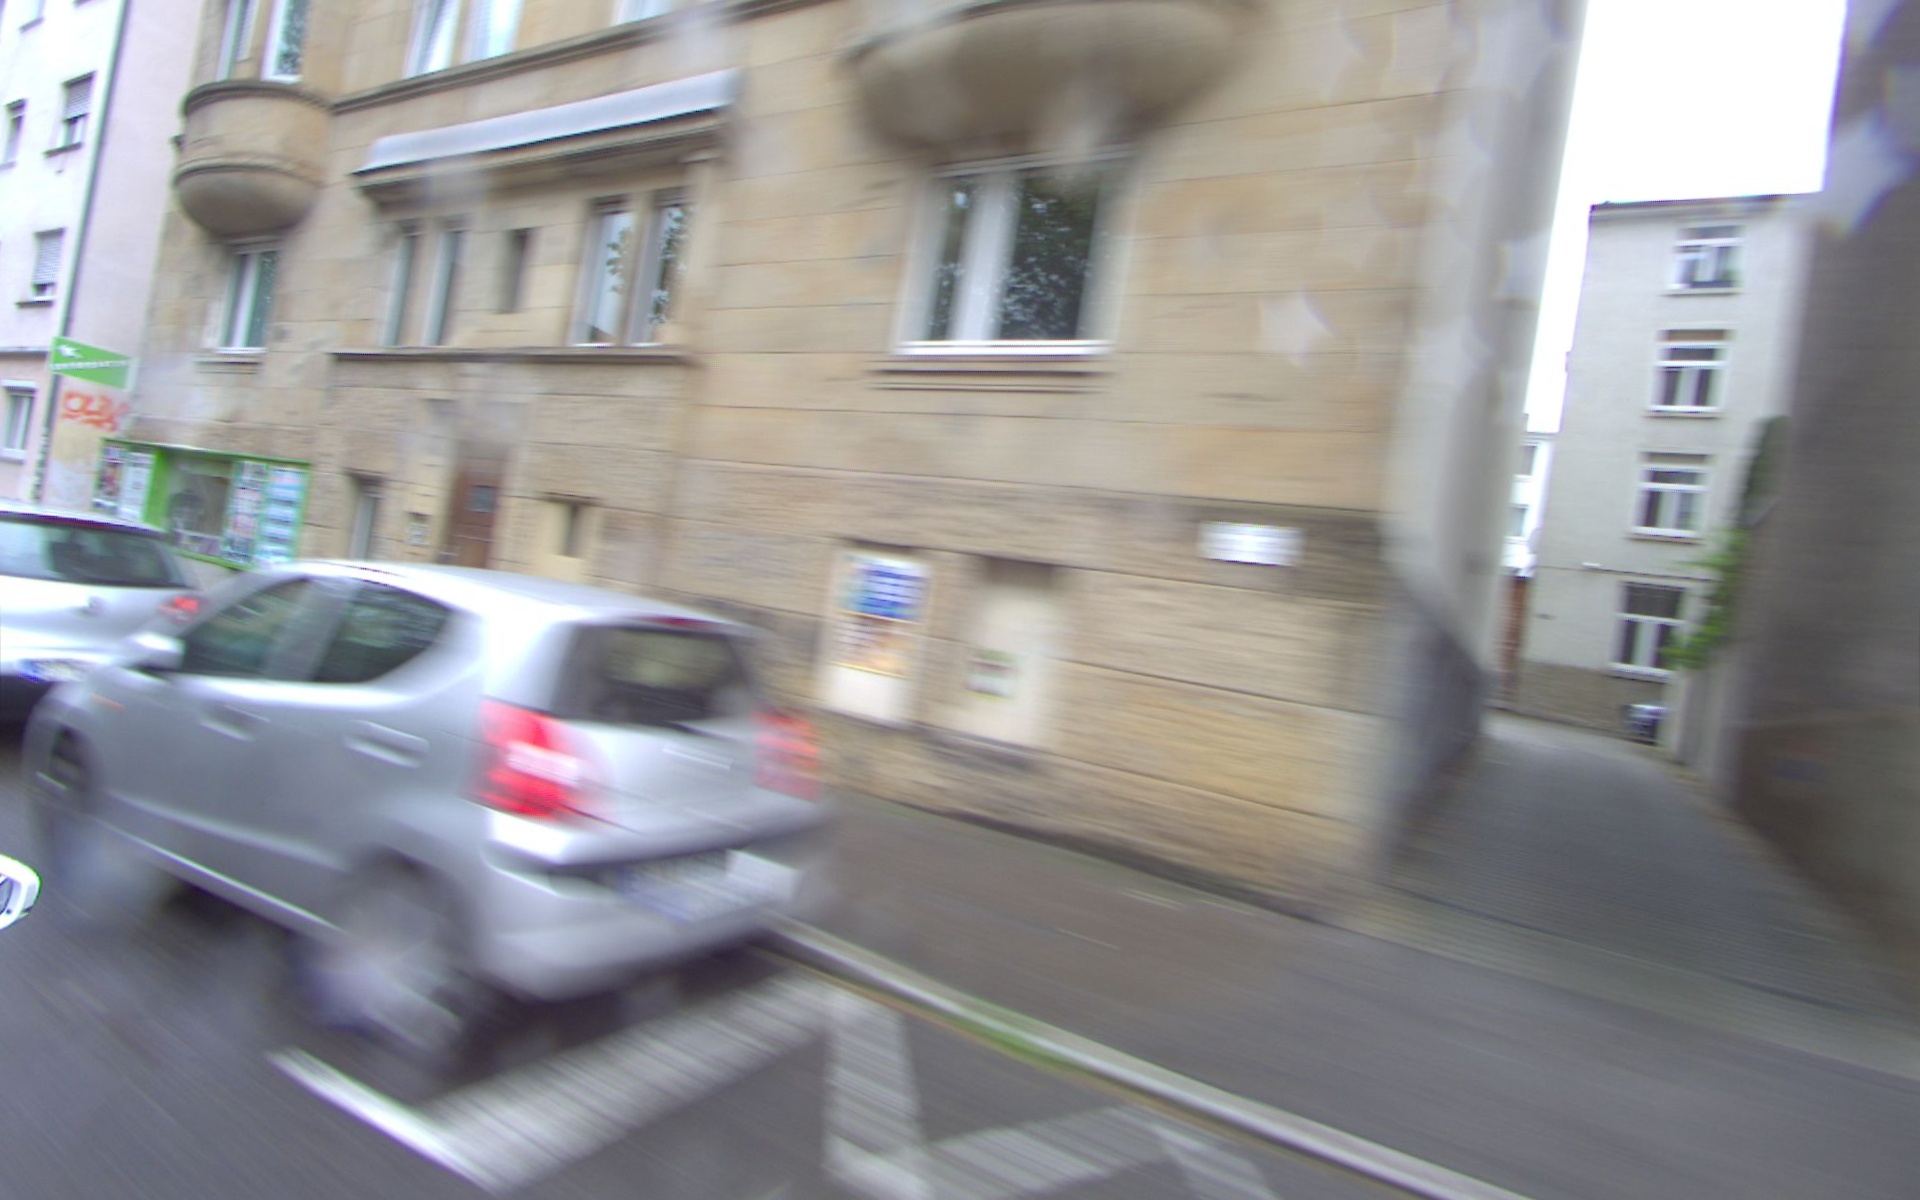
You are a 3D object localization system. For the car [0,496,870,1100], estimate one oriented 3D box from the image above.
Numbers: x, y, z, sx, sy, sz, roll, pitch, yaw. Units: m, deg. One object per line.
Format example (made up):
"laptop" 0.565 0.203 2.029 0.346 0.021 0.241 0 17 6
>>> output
"car" -2.402 0.513 4.311 3.621 1.451 1.594 7 -1 29

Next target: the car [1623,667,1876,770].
"car" 15.518 2.331 20.044 3.720 1.385 1.668 7 -3 35

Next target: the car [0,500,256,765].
"car" -6.789 0.027 6.872 3.889 1.451 1.671 7 -1 30
